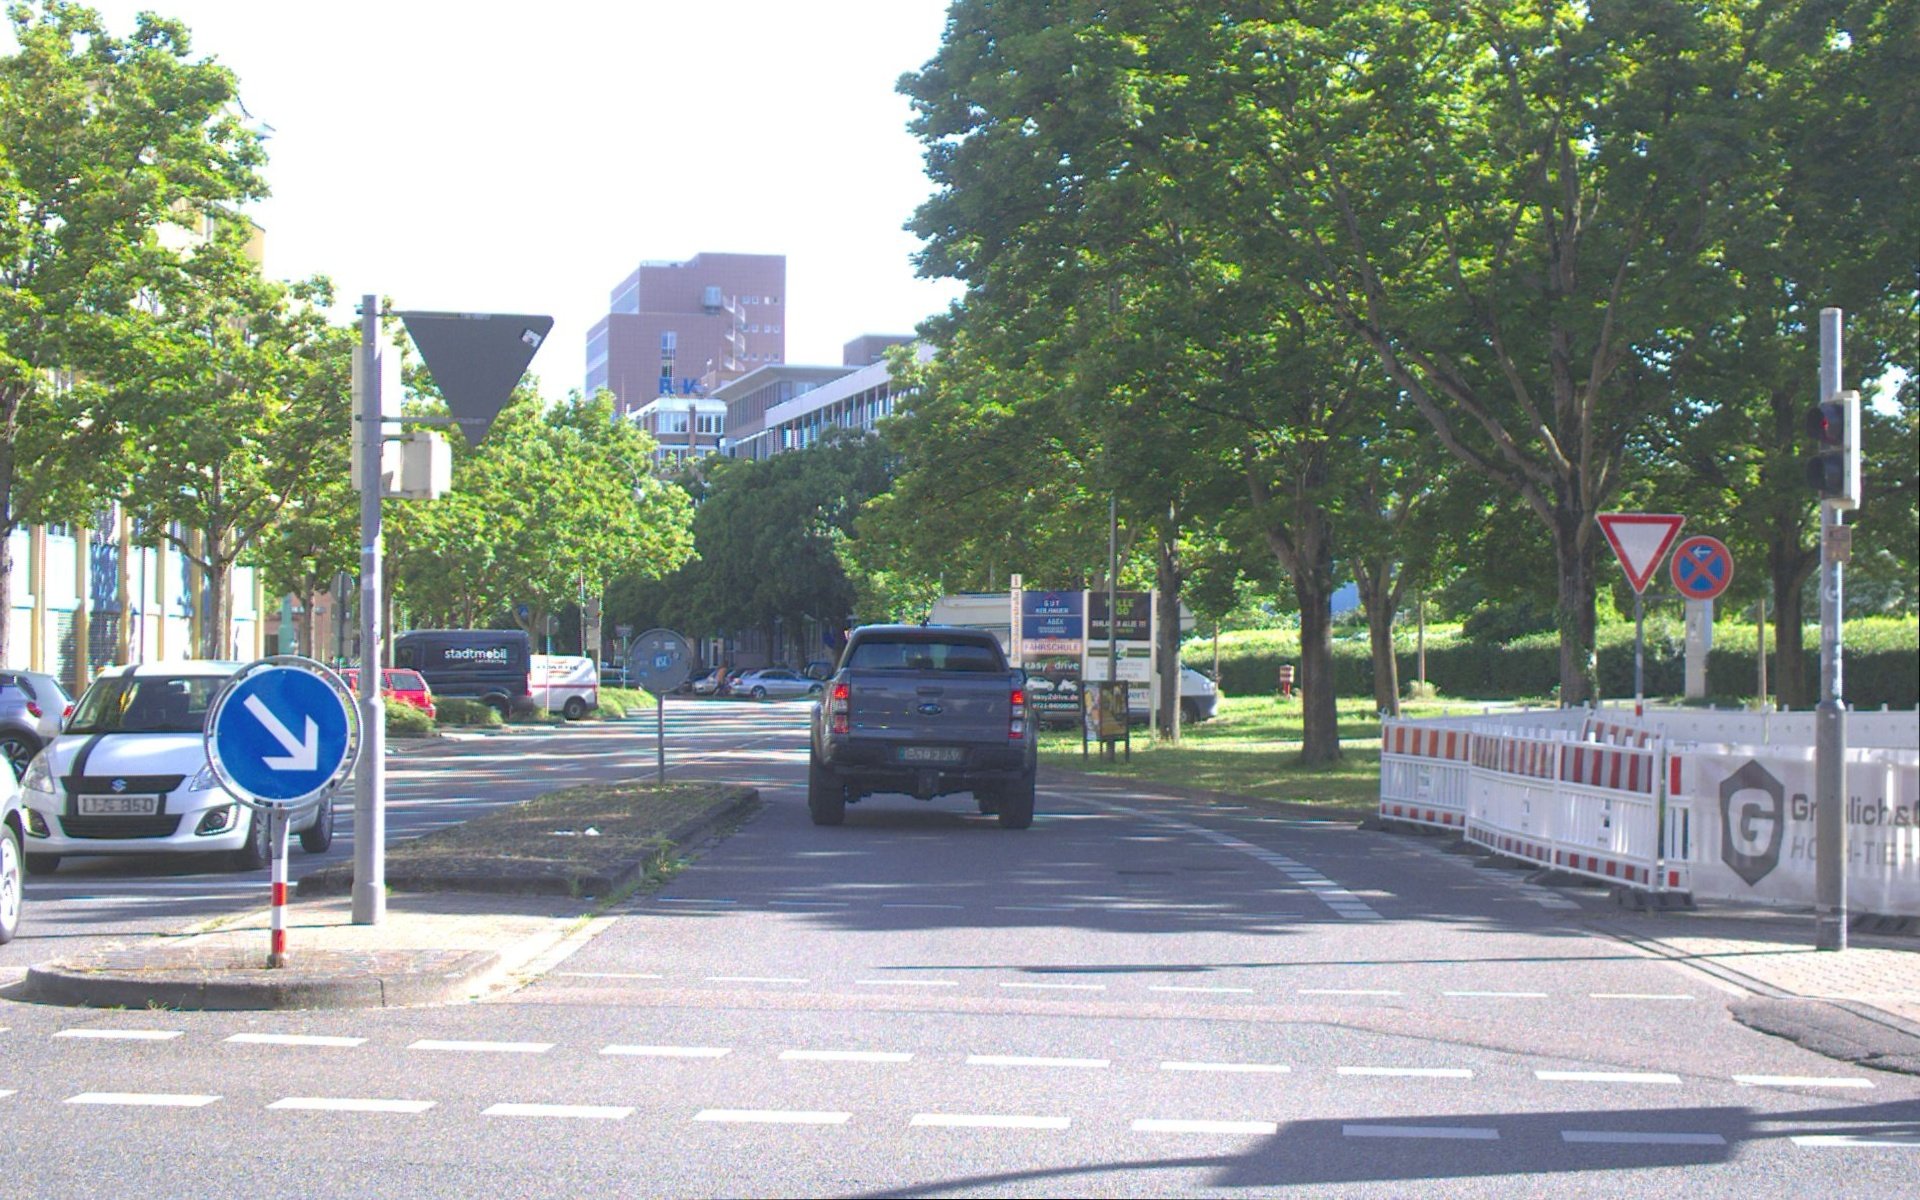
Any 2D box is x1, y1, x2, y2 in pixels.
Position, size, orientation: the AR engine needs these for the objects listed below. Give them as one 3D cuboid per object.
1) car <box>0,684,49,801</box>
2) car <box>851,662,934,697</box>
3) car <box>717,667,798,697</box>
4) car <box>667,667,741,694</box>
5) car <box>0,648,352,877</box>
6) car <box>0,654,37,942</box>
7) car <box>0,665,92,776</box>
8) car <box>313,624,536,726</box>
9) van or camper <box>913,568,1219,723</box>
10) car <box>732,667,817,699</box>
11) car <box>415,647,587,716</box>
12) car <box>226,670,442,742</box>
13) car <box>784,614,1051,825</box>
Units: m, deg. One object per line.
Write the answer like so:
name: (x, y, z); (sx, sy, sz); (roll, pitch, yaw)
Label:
car: (-13.923, 1.812, 44.220); (3.873, 1.505, 1.828); (2, -2, -33)
car: (-2.718, 3.188, 137.970); (3.243, 1.273, 1.516); (-2, -1, -2)
car: (-10.304, 4.157, 174.893); (3.946, 1.392, 1.516); (-2, -1, -9)
car: (-14.270, 4.486, 191.406); (3.946, 1.392, 1.516); (-2, -1, -9)
car: (-5.729, 1.139, 25.470); (1.705, 1.507, 3.862); (-1, -1, 0)
car: (-5.643, 0.982, 16.152); (1.707, 1.447, 3.851); (0, -1, -2)
car: (-14.127, 1.641, 47.212); (3.873, 1.505, 1.828); (2, -2, -32)
car: (-13.626, 1.892, 87.603); (5.260, 2.537, 1.986); (0, -1, -26)
van or camper: (2.127, 0.940, 70.739); (6.078, 2.919, 2.575); (-2, -1, -1)
car: (-9.080, 4.058, 167.845); (3.946, 1.392, 1.516); (-2, -1, -9)
car: (-14.072, 2.473, 105.489); (4.884, 2.076, 1.985); (1, -1, -35)
car: (-14.006, 2.355, 76.956); (4.406, 1.547, 1.922); (0, -1, -25)
car: (-0.495, 1.068, 32.425); (2.132, 1.829, 4.941); (0, -1, -5)
